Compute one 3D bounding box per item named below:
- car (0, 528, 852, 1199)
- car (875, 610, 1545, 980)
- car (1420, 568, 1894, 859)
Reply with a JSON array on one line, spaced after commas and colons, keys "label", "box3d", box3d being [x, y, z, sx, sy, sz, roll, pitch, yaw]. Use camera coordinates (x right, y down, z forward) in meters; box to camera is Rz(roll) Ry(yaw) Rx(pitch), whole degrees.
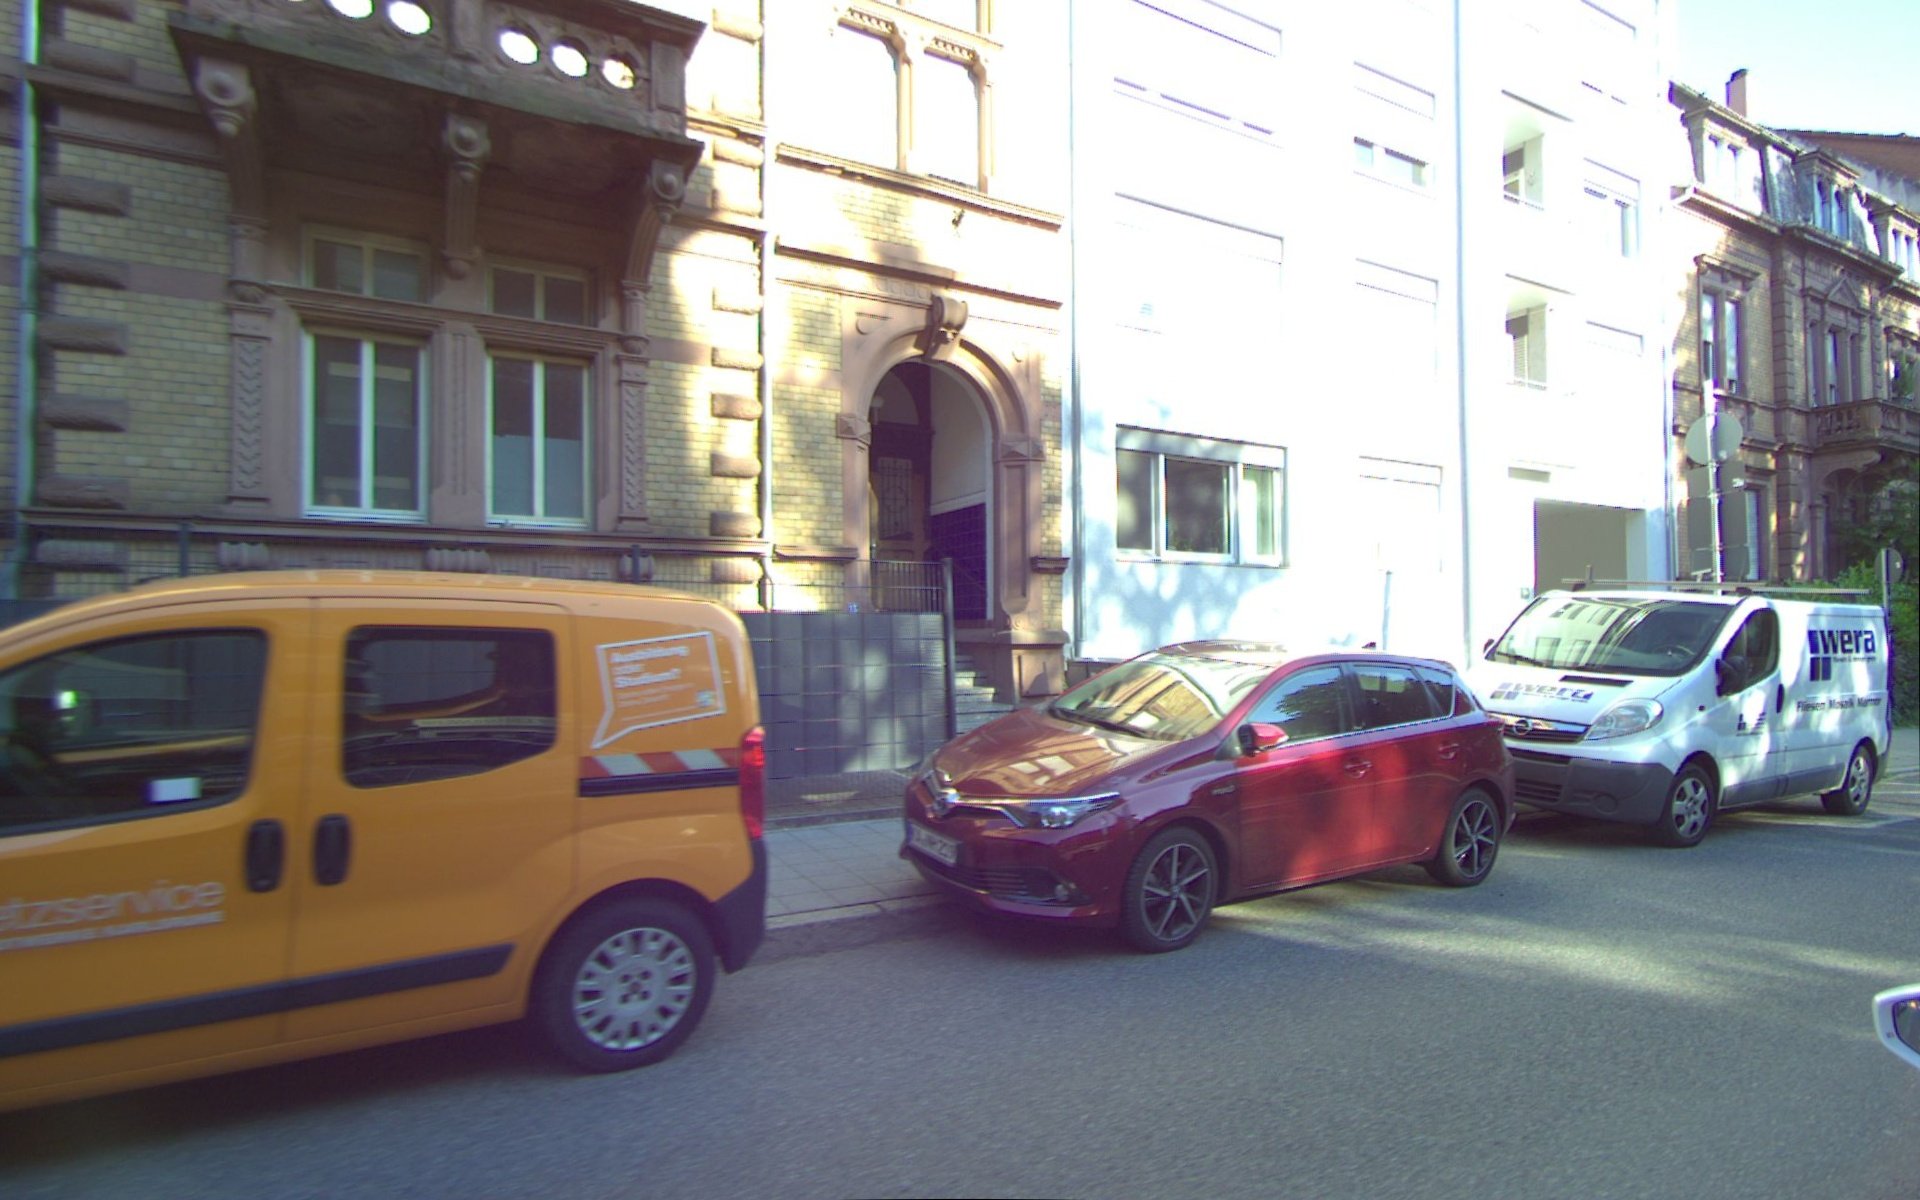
[{"label": "car", "box3d": [-2.477, 0.711, 3.611, 3.813, 1.761, 1.694, 1, -1, -31]}, {"label": "car", "box3d": [1.668, 0.908, 6.255, 4.071, 1.641, 1.694, 1, -1, -31]}, {"label": "car", "box3d": [6.365, 0.843, 9.018, 4.644, 2.037, 1.784, 1, -1, -31]}]
